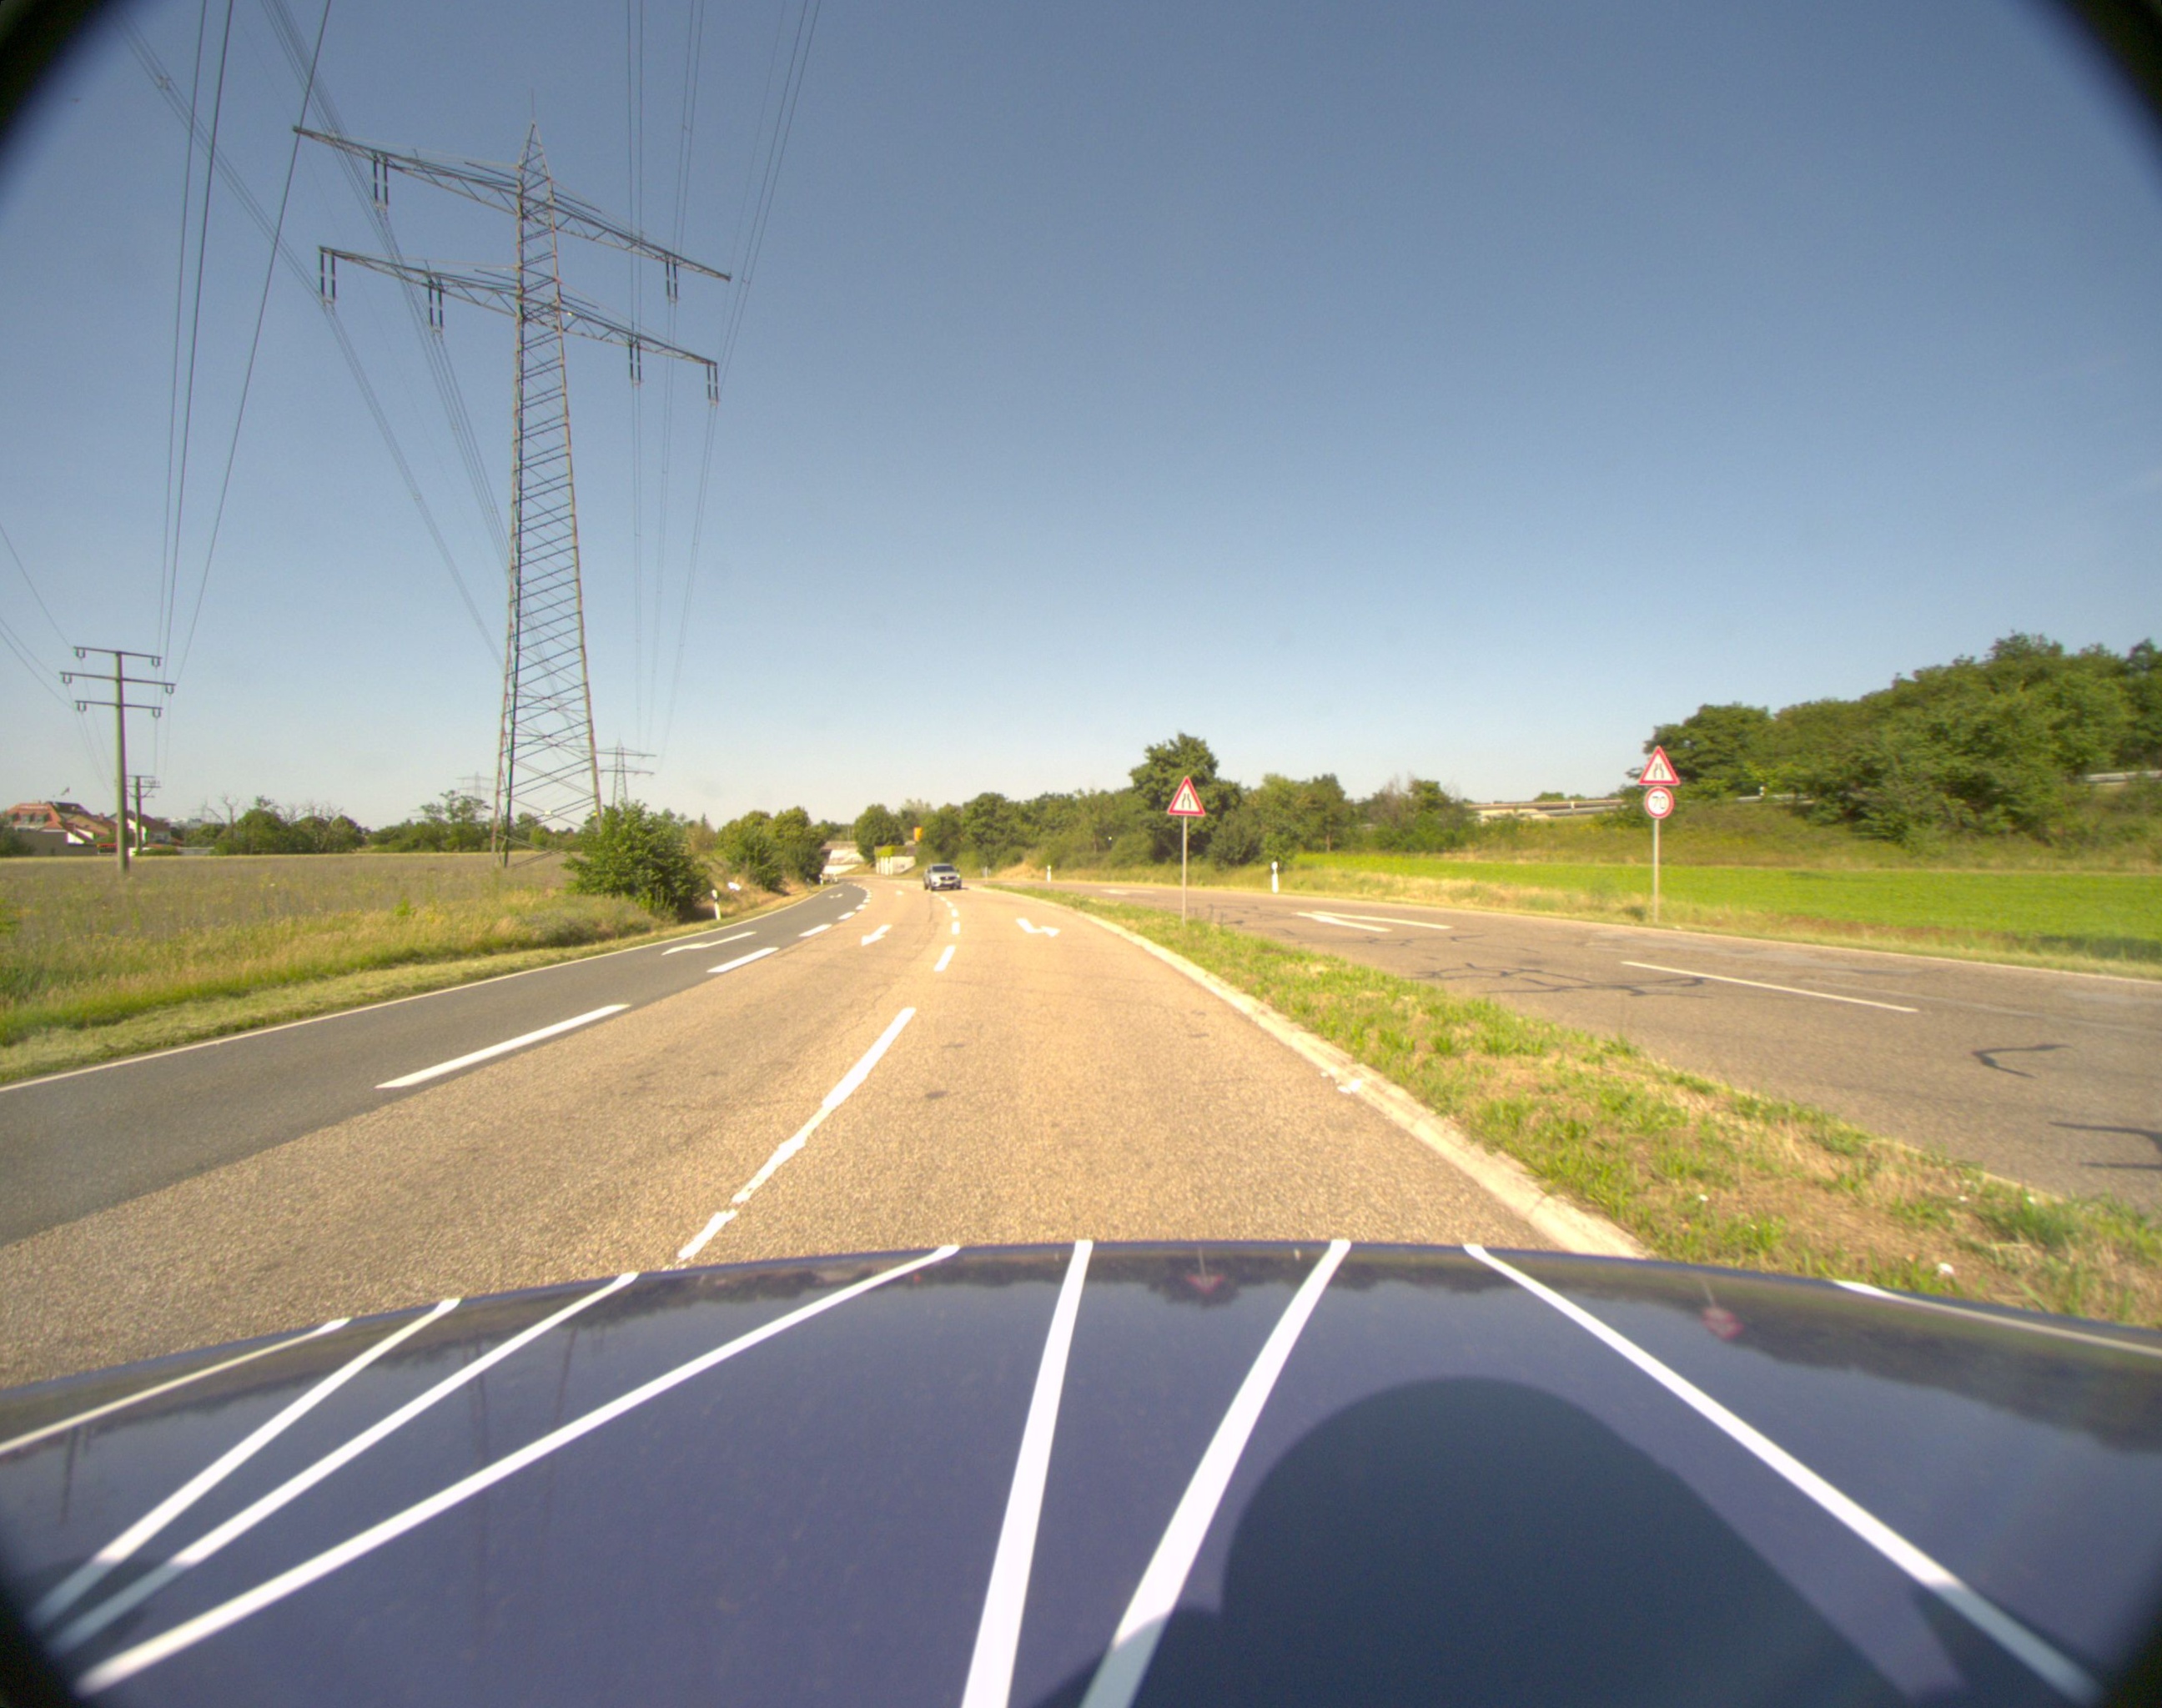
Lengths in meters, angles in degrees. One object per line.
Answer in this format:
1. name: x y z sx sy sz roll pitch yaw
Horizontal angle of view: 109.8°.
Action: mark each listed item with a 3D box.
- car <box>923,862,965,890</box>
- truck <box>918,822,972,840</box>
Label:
1. car: -8.542 1.322 47.217 1.862 1.609 3.641 -2 0 -21
2. truck: -28.307 -4.773 157.650 11.260 3.165 2.165 -2 1 19
